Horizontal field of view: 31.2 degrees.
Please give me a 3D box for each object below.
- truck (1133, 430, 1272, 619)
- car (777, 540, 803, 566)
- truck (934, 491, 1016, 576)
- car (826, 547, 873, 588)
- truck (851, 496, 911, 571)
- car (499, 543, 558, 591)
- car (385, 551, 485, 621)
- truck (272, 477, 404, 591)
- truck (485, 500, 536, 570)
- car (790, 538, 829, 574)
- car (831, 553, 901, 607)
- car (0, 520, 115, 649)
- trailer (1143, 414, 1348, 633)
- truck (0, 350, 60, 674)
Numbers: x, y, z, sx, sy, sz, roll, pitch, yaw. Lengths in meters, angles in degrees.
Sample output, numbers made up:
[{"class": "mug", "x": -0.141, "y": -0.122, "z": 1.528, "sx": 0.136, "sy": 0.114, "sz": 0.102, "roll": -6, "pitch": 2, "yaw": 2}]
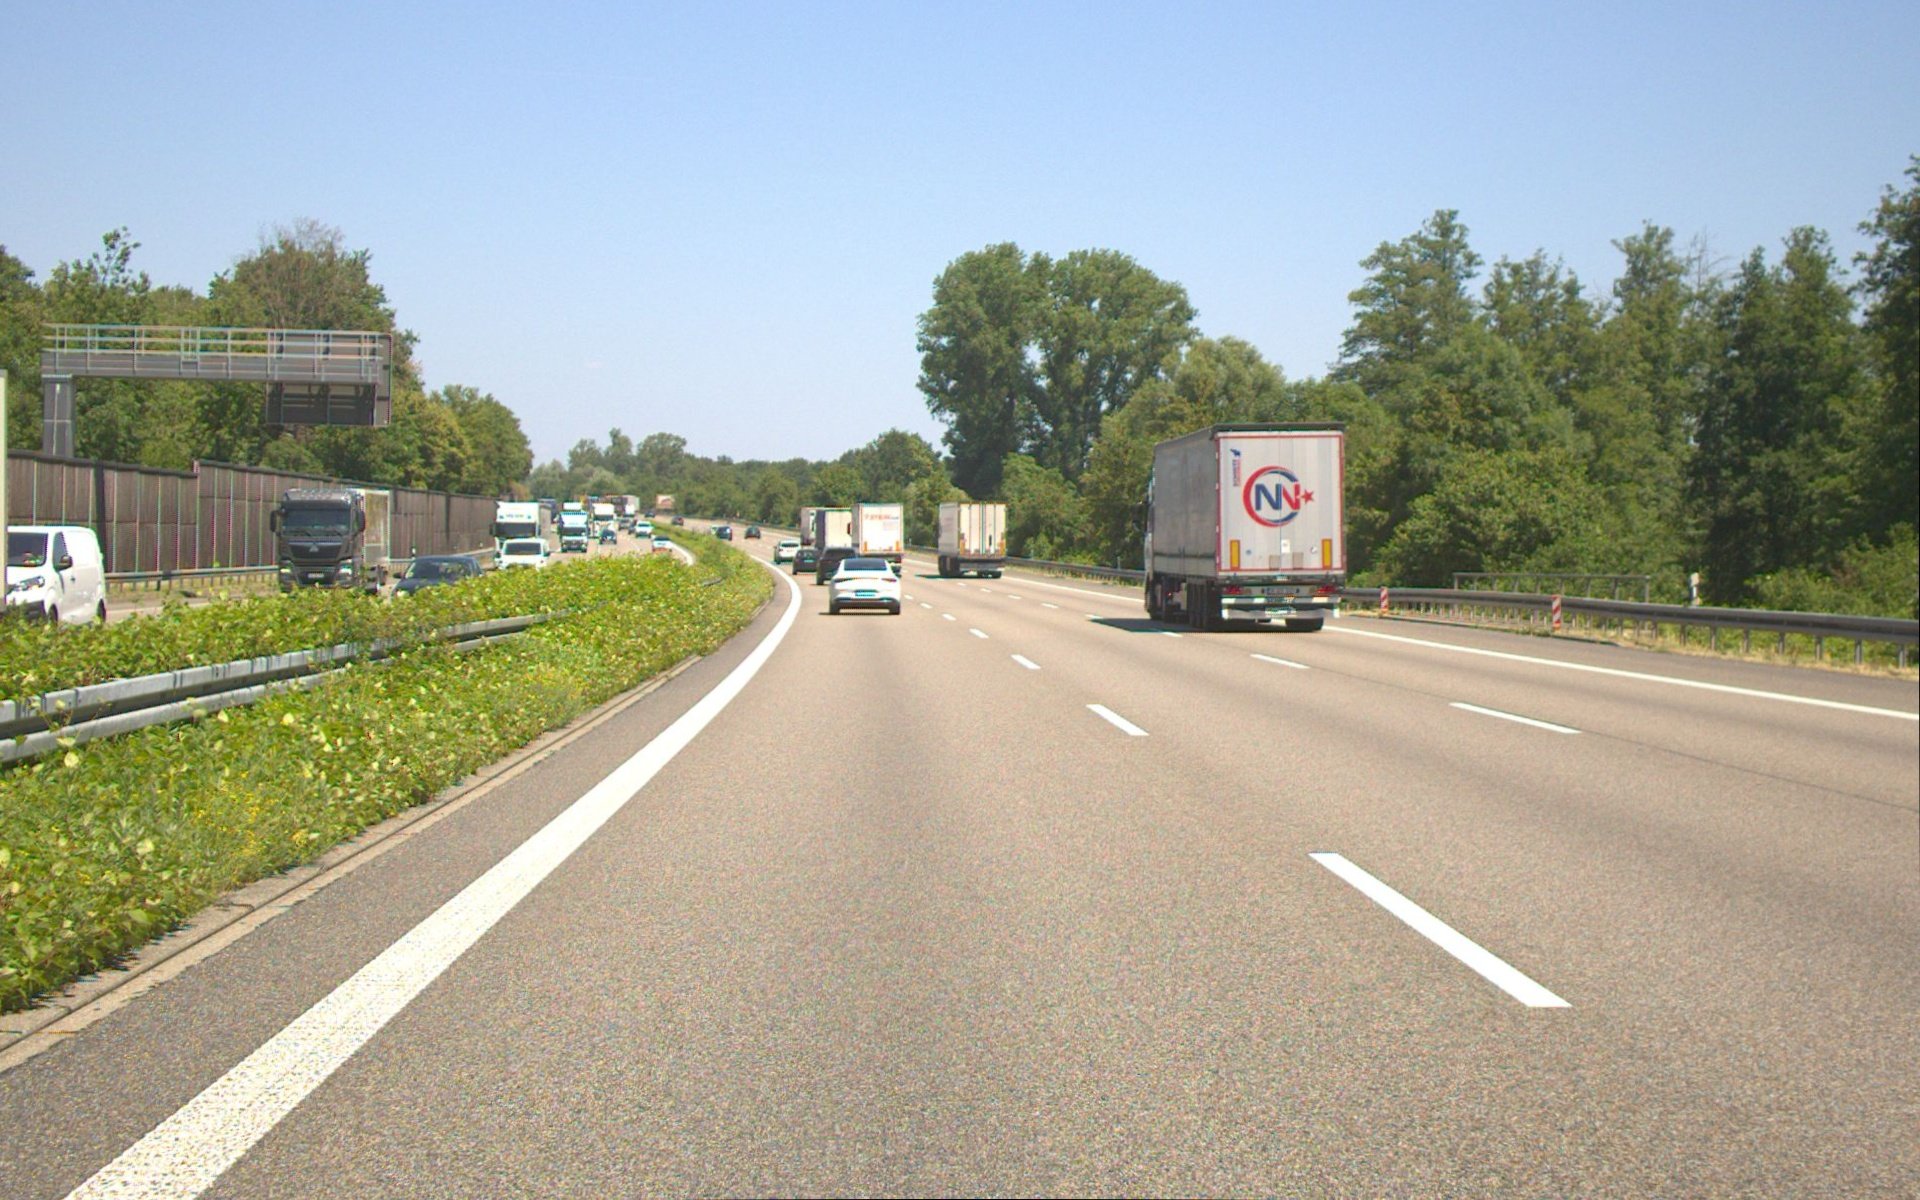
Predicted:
[{"class": "truck", "x": 5.670, "y": -1.760, "z": 81.013, "sx": 2.605, "sy": 4.272, "sz": 5.436, "roll": 0, "pitch": 1, "yaw": -3}, {"class": "car", "x": -12.179, "y": -3.373, "z": 245.947, "sx": 1.723, "sy": 1.776, "sz": 4.001, "roll": 0, "pitch": 1, "yaw": -5}, {"class": "truck", "x": 0.727, "y": -3.513, "z": 182.178, "sx": 3.492, "sy": 4.296, "sz": 10.990, "roll": 0, "pitch": 1, "yaw": -4}, {"class": "car", "x": -4.972, "y": -1.475, "z": 153.901, "sx": 1.993, "sy": 1.766, "sz": 4.001, "roll": 0, "pitch": 1, "yaw": -3}, {"class": "truck", "x": -4.754, "y": -3.929, "z": 204.499, "sx": 3.359, "sy": 4.296, "sz": 10.830, "roll": 0, "pitch": 1, "yaw": -2}, {"class": "car", "x": -18.248, "y": -1.409, "z": 145.639, "sx": 1.993, "sy": 2.007, "sz": 5.102, "roll": 0, "pitch": 1, "yaw": -2}, {"class": "car", "x": -10.721, "y": -0.299, "z": 70.414, "sx": 1.625, "sy": 1.385, "sz": 3.914, "roll": 0, "pitch": 1, "yaw": -3}, {"class": "truck", "x": -20.513, "y": -2.157, "z": 113.898, "sx": 2.870, "sy": 3.593, "sz": 9.953, "roll": 0, "pitch": 1, "yaw": -2}, {"class": "truck", "x": -26.417, "y": -3.824, "z": 202.406, "sx": 2.519, "sy": 4.052, "sz": 6.372, "roll": 0, "pitch": 1, "yaw": -3}, {"class": "car", "x": -8.507, "y": -2.500, "z": 193.848, "sx": 1.993, "sy": 2.007, "sz": 4.001, "roll": 0, "pitch": 1, "yaw": -5}, {"class": "car", "x": -2.418, "y": -0.532, "z": 89.262, "sx": 1.715, "sy": 1.365, "sz": 3.375, "roll": 0, "pitch": 1, "yaw": 0}, {"class": "car", "x": -13.949, "y": -0.254, "z": 50.794, "sx": 1.867, "sy": 1.814, "sz": 4.817, "roll": 0, "pitch": 1, "yaw": -2}, {"class": "trailer", "x": 5.955, "y": -1.613, "z": 74.146, "sx": 2.624, "sy": 4.246, "sz": 14.062, "roll": 0, "pitch": 1, "yaw": -2}, {"class": "truck", "x": -10.261, "y": -0.817, "z": 31.071, "sx": 2.193, "sy": 3.104, "sz": 8.535, "roll": 0, "pitch": 1, "yaw": -1}]
